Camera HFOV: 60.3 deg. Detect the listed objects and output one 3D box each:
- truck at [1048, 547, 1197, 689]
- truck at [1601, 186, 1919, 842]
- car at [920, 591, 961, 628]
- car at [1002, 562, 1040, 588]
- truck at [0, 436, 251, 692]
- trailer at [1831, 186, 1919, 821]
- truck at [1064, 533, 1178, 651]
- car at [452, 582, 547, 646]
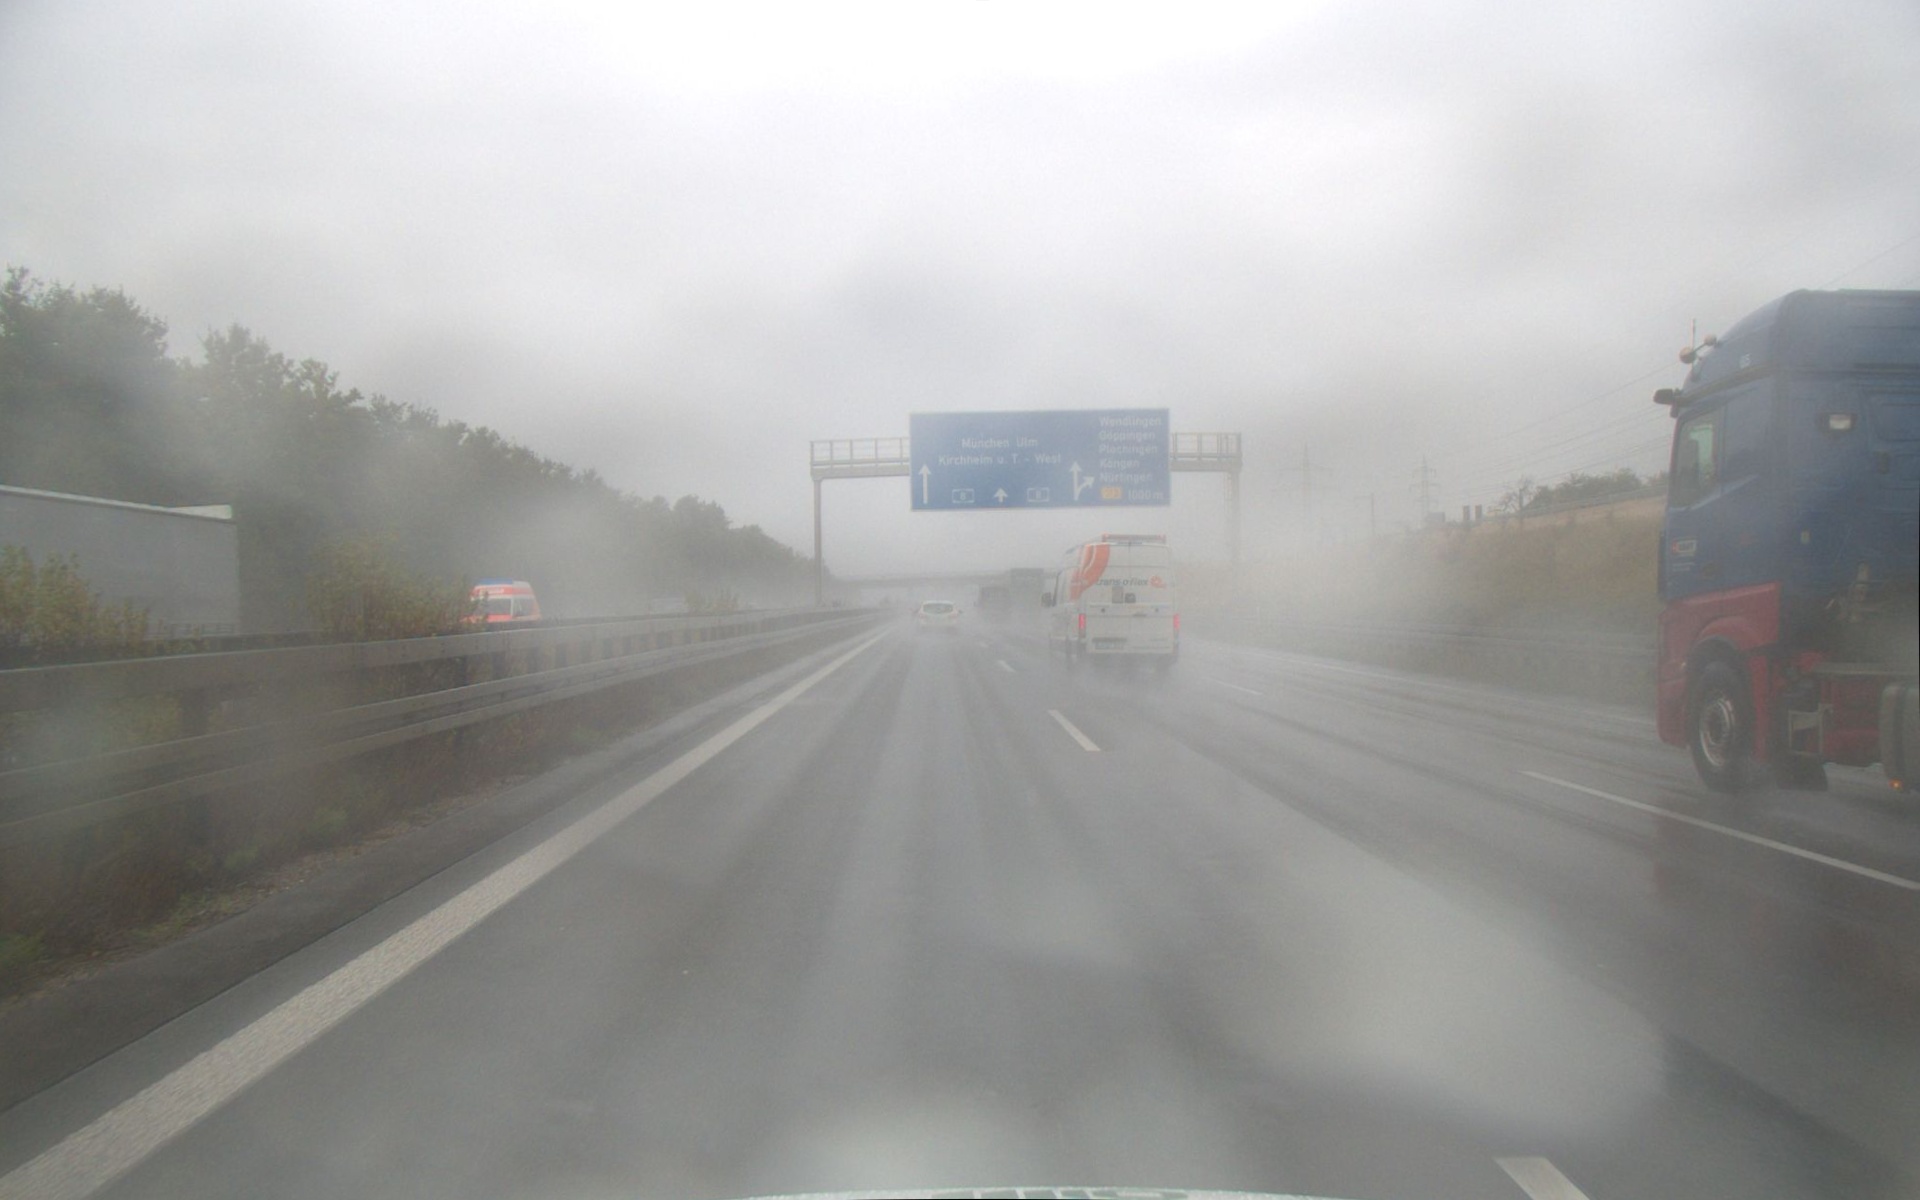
[{"bbox_3d":[3.096,0.287,32.778,2.370,2.536,5.560,1,1,0],"label":"truck"},{"bbox_3d":[7.099,-0.559,12.432,2.446,4.053,5.074,1,1,-1],"label":"truck"},{"bbox_3d":[-0.780,0.340,65.168,1.573,1.361,3.848,1,1,-1],"label":"car"},{"bbox_3d":[4.879,-2.009,132.397,2.731,2.049,4.992,1,1,-1],"label":"car"},{"bbox_3d":[-19.386,-0.724,33.770,2.905,4.756,17.094,1,1,-2],"label":"truck"},{"bbox_3d":[7.305,-0.525,5.758,2.446,3.950,11.064,1,1,-1],"label":"trailer"},{"bbox_3d":[6.887,-0.301,73.626,2.978,4.668,16.345,1,0,-2],"label":"truck"},{"bbox_3d":[-15.467,0.433,55.813,1.953,2.020,5.013,1,1,-2],"label":"car"}]
